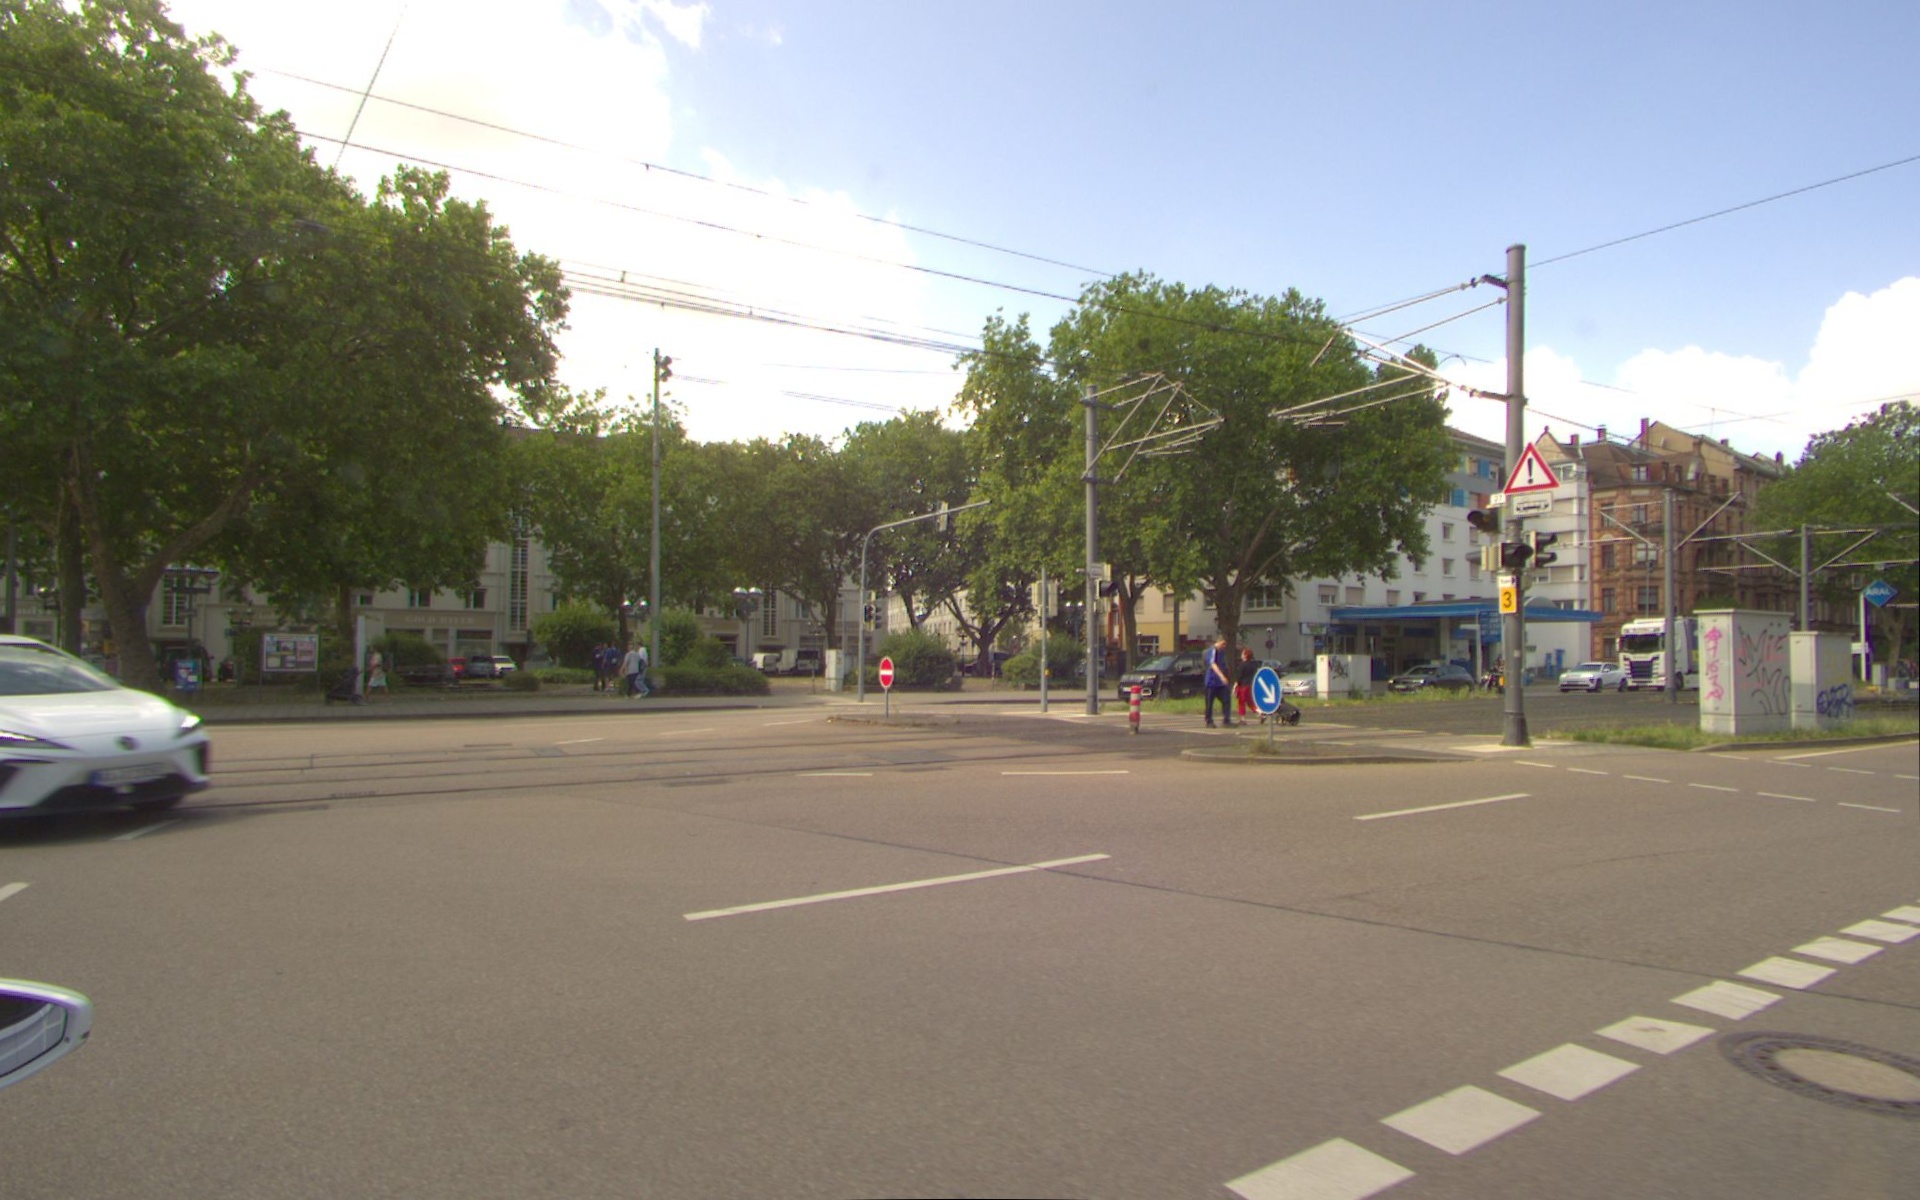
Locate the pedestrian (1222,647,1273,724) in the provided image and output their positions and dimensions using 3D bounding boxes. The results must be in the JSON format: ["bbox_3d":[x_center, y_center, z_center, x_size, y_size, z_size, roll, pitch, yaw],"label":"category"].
[{"bbox_3d":[5.806,1.710,20.243,0.768,1.511,0.652,-1,-2,44],"label":"pedestrian"}]

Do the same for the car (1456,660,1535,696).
[{"bbox_3d":[24.904,3.592,46.566,3.704,1.582,1.676,2,-3,-33],"label":"car"}]

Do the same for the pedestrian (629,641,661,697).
[{"bbox_3d":[-10.171,2.223,32.341,0.683,1.786,0.667,-1,-2,33],"label":"pedestrian"}]

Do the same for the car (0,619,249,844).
[{"bbox_3d":[-8.241,0.948,8.141,4.055,1.524,1.820,0,-3,15],"label":"car"}]

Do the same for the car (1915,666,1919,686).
[{"bbox_3d":[80.843,6.312,82.832,3.947,1.651,1.793,2,-3,-33],"label":"car"}]

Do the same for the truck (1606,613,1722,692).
[{"bbox_3d":[39.594,2.967,56.263,6.500,4.200,2.903,2,-3,-31],"label":"truck"}]

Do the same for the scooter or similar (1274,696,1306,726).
[{"bbox_3d":[6.509,2.189,19.765,0.516,0.542,0.308,0,-2,45],"label":"scooter or similar"}]

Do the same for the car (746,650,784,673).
[{"bbox_3d":[-16.895,5.305,86.616,1.973,1.988,3.980,2,-3,-31],"label":"car"}]

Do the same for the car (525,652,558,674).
[{"bbox_3d":[-31.875,4.763,76.217,1.720,1.657,3.980,2,-3,-31],"label":"car"}]

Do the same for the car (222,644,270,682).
[{"bbox_3d":[-40.674,3.593,57.143,1.974,2.101,3.978,2,-4,-33],"label":"car"}]

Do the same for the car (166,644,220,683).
[{"bbox_3d":[-42.900,3.530,56.081,1.974,2.101,3.978,2,-4,-33],"label":"car"}]

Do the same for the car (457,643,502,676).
[{"bbox_3d":[-31.002,3.844,64.547,1.975,2.038,3.975,2,-4,-35],"label":"car"}]

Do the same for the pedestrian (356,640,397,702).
[{"bbox_3d":[-15.908,1.922,27.295,0.910,1.666,0.567,2,-3,-32],"label":"pedestrian"}]

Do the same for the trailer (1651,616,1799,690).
[{"bbox_3d":[46.070,3.179,60.121,11.488,4.128,2.903,2,-3,-31],"label":"trailer"}]

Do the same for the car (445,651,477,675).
[{"bbox_3d":[-36.521,4.589,73.236,1.720,1.657,3.980,2,-3,-31],"label":"car"}]

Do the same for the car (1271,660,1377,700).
[{"bbox_3d":[14.253,3.099,39.149,4.271,1.484,1.724,3,-3,-33],"label":"car"}]

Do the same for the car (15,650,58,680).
[{"bbox_3d":[-45.287,3.188,49.129,1.455,1.406,3.040,3,-4,-42],"label":"car"}]

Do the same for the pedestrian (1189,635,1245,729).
[{"bbox_3d":[4.935,1.554,19.242,0.734,1.753,0.767,2,-2,-34],"label":"pedestrian"}]

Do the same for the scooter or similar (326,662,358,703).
[{"bbox_3d":[-16.586,2.207,26.885,0.699,1.069,0.488,2,-3,-32],"label":"scooter or similar"}]

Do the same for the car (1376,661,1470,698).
[{"bbox_3d":[19.912,3.366,43.013,3.920,1.464,1.844,2,-3,-32],"label":"car"}]

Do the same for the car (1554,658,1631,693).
[{"bbox_3d":[33.023,3.916,52.232,4.079,1.726,1.844,2,-3,-33],"label":"car"}]

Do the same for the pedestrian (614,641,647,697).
[{"bbox_3d":[-10.408,2.169,31.628,0.683,1.744,0.716,-1,-2,33],"label":"pedestrian"}]

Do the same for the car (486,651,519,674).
[{"bbox_3d":[-34.175,4.678,74.763,1.720,1.657,3.980,2,-3,-31],"label":"car"}]

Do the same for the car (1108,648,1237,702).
[{"bbox_3d":[7.386,2.567,34.634,4.360,1.748,1.844,2,-3,-32],"label":"car"}]

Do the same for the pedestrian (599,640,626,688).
[{"bbox_3d":[-12.837,2.356,37.044,0.597,1.772,0.695,-1,-2,33],"label":"pedestrian"}]

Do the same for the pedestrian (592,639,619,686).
[{"bbox_3d":[-13.539,2.397,38.243,0.597,1.772,0.695,-1,-2,33],"label":"pedestrian"}]

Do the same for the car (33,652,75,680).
[{"bbox_3d":[-47.273,3.414,52.274,1.454,1.406,3.210,3,-4,-40],"label":"car"}]

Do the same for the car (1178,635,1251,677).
[{"bbox_3d":[15.287,3.371,60.146,3.947,2.450,2.101,2,-3,-33],"label":"car"}]

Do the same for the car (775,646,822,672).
[{"bbox_3d":[-12.409,4.481,76.645,2.075,1.929,4.468,2,-3,-31],"label":"car"}]
